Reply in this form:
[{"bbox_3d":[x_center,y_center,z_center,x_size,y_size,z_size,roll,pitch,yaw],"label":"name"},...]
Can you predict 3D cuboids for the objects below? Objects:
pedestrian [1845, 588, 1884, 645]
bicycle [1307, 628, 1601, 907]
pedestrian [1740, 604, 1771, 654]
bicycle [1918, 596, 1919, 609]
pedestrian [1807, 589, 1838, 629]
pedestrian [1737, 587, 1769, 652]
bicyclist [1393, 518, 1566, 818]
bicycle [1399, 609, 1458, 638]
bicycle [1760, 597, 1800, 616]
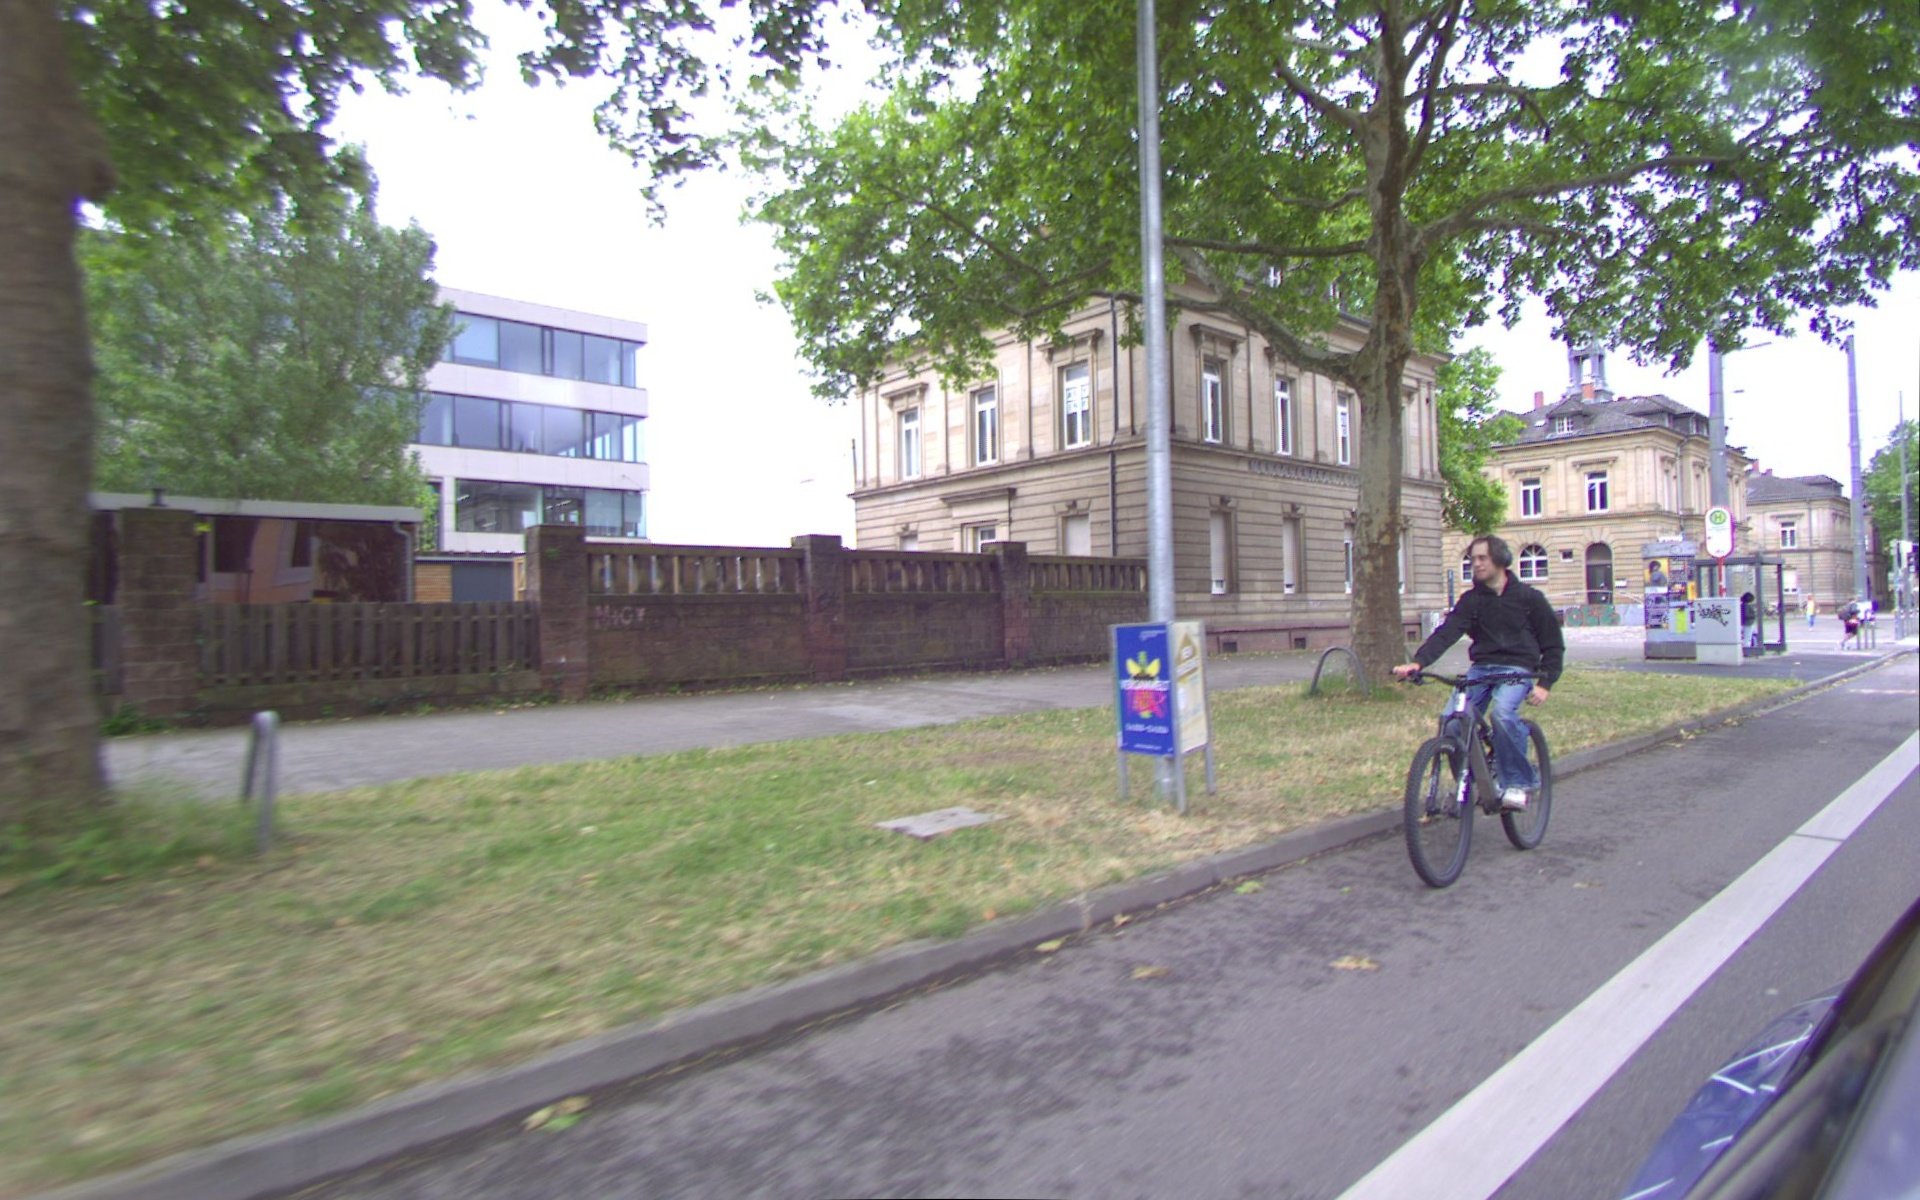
[{"bbox_3d":[25.318,0.459,28.325,0.625,1.548,0.554,-1,-1,-23],"label":"pedestrian"},{"bbox_3d":[2.779,0.778,5.542,2.244,1.164,0.653,-1,-1,-43],"label":"bicycle"},{"bbox_3d":[20.466,0.730,26.030,0.690,1.249,0.477,-1,-1,-41],"label":"pedestrian"},{"bbox_3d":[88.799,0.245,93.236,0.674,1.179,2.084,-2,0,40],"label":"bicycle"},{"bbox_3d":[37.519,0.381,44.020,0.980,1.699,0.721,-1,-1,-31],"label":"pedestrian"},{"bbox_3d":[19.704,0.473,25.140,0.690,1.583,0.477,-1,-1,-41],"label":"pedestrian"},{"bbox_3d":[2.930,0.351,5.707,0.653,1.550,0.641,-1,-1,-42],"label":"bicyclist"},{"bbox_3d":[18.427,0.960,39.766,3.347,1.082,0.901,2,-3,-43],"label":"bicycle"},{"bbox_3d":[51.238,0.412,63.254,1.843,1.092,0.541,1,1,32],"label":"bicycle"}]
